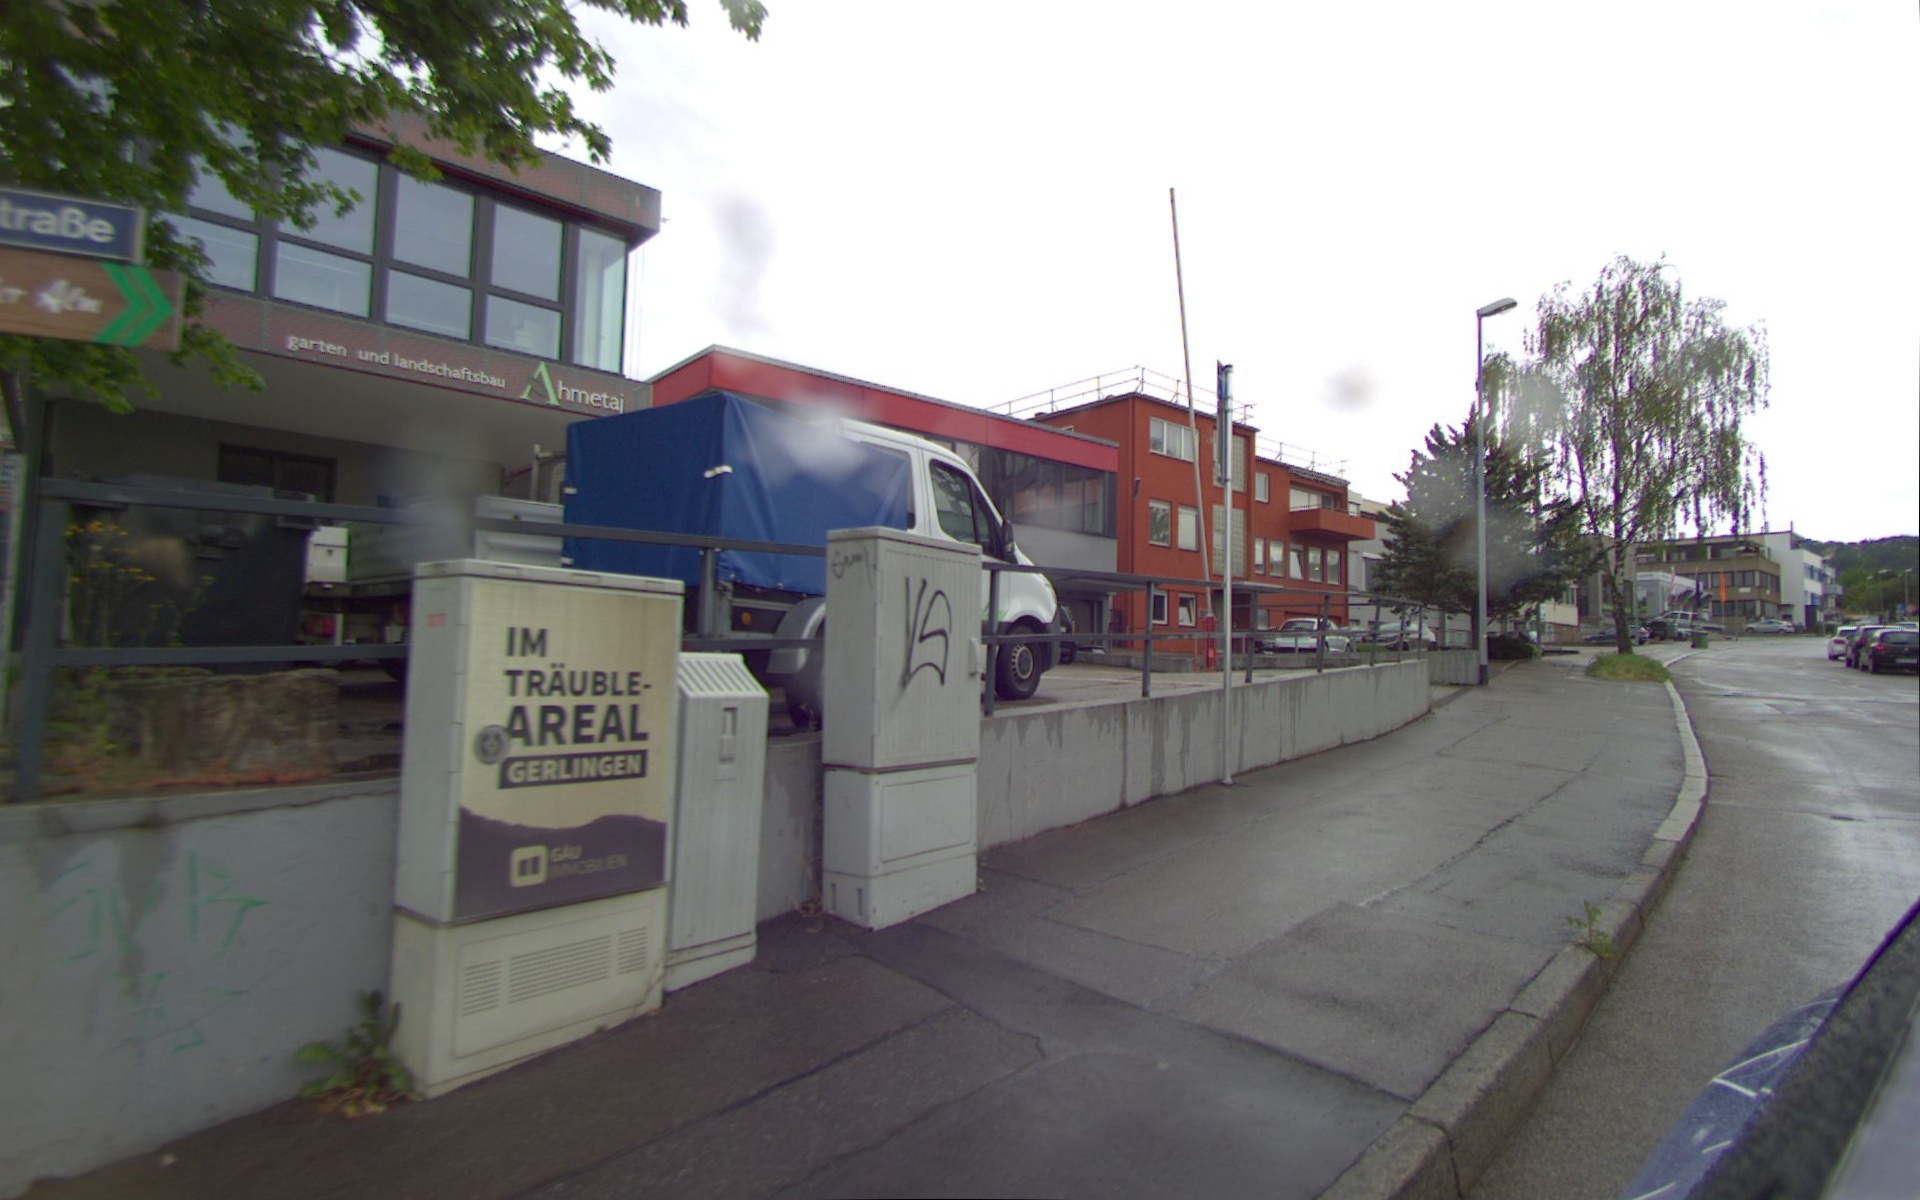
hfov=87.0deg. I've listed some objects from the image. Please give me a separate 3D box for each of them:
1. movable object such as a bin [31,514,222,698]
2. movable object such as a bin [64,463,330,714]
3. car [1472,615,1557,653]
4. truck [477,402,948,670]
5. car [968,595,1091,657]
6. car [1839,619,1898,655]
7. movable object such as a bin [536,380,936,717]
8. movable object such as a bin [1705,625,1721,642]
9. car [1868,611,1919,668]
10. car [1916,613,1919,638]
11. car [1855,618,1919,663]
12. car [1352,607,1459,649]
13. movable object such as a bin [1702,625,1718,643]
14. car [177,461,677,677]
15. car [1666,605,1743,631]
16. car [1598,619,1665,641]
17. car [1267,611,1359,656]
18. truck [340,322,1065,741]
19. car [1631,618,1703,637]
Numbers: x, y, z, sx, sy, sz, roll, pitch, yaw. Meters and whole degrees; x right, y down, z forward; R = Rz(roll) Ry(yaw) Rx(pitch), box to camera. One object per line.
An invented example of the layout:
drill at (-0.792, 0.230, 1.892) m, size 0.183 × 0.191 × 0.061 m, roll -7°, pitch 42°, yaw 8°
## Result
movable object such as a bin at (-5.331, 0.044, 6.474) m, size 0.869 × 1.056 × 1.051 m, roll 1°, pitch -2°, yaw -42°
movable object such as a bin at (-4.166, -0.045, 5.518) m, size 1.010 × 1.177 × 1.139 m, roll 1°, pitch -2°, yaw -44°
car at (29.372, 1.823, 53.709) m, size 1.588 × 1.520 × 3.440 m, roll 1°, pitch -10°, yaw -37°
truck at (-2.576, -0.529, 11.483) m, size 2.242 × 2.372 × 4.761 m, roll -1°, pitch -2°, yaw 43°
car at (1.709, 0.619, 25.402) m, size 1.649 × 1.465 × 2.716 m, roll 1°, pitch -1°, yaw -41°
car at (41.724, 1.677, 46.566) m, size 1.731 × 1.556 × 4.190 m, roll -1°, pitch -2°, yaw 39°
movable object such as a bin at (-1.165, -0.217, 5.682) m, size 1.300 × 1.520 × 1.838 m, roll -1°, pitch -1°, yaw 31°
movable object such as a bin at (48.081, 2.140, 64.648) m, size 0.734 × 1.104 × 0.585 m, roll -1°, pitch -2°, yaw 44°
car at (31.740, 1.279, 33.802) m, size 1.735 × 1.820 × 3.905 m, roll -1°, pitch -1°, yaw 37°
car at (75.274, 1.989, 78.142) m, size 1.993 × 1.938 × 3.937 m, roll -1°, pitch -1°, yaw 43°
car at (34.892, 1.469, 37.955) m, size 1.628 × 1.578 × 4.029 m, roll -1°, pitch -1°, yaw 37°
car at (17.817, 1.127, 40.381) m, size 4.428 × 1.600 × 2.000 m, roll 1°, pitch -3°, yaw -38°
movable object such as a bin at (47.189, 2.136, 63.710) m, size 0.734 × 1.104 × 0.585 m, roll -1°, pitch -2°, yaw 44°
car at (-6.060, -0.255, 12.007) m, size 2.056 × 2.039 × 4.859 m, roll -1°, pitch -2°, yaw 44°
car at (66.688, 1.632, 90.678) m, size 2.162 × 2.323 × 5.151 m, roll 1°, pitch -2°, yaw -38°
car at (48.072, 2.125, 72.495) m, size 1.603 × 1.560 × 3.743 m, roll 1°, pitch -1°, yaw -42°
car at (12.749, 1.179, 36.421) m, size 1.899 × 1.489 × 4.269 m, roll 0°, pitch -1°, yaw 37°
truck at (-1.564, -0.325, 8.238) m, size 2.102 × 2.242 × 5.570 m, roll -1°, pitch -1°, yaw 40°
car at (59.184, 2.294, 84.777) m, size 1.906 × 1.516 × 4.619 m, roll 1°, pitch -1°, yaw -40°
